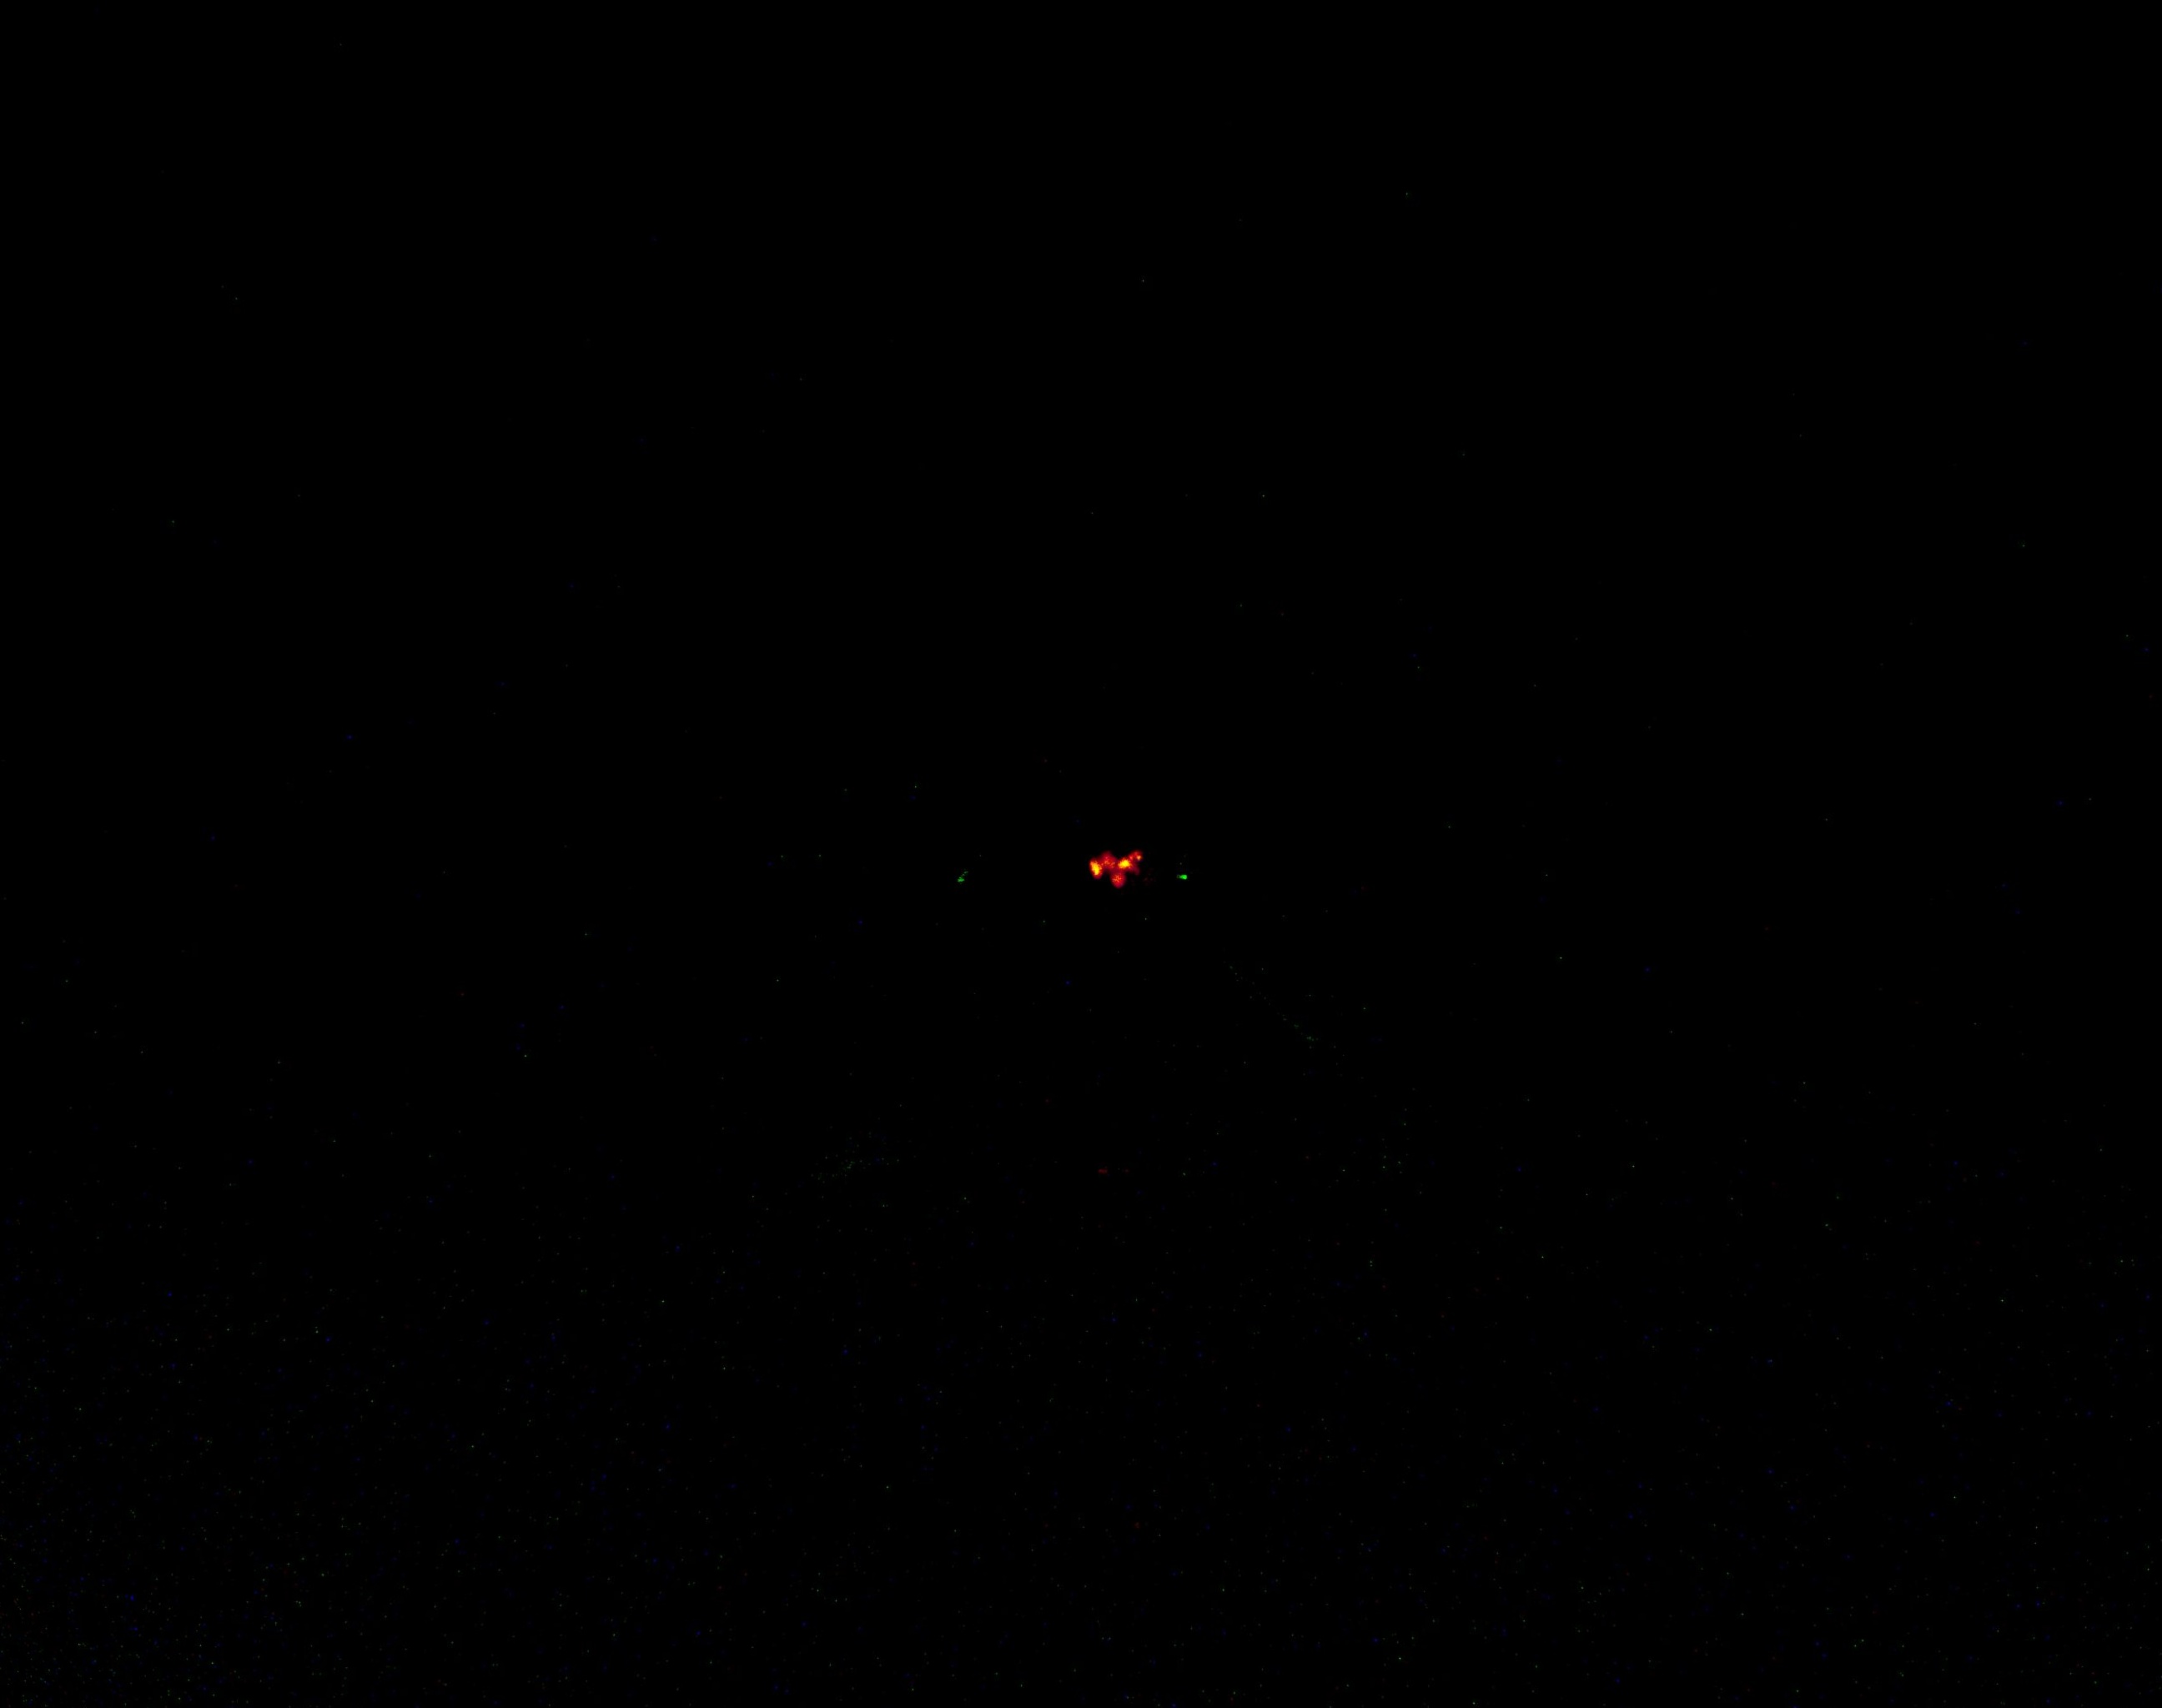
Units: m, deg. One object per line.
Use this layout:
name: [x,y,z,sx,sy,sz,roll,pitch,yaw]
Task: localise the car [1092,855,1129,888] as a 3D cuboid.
car: [1.662,0.932,44.938,1.834,1.740,4.005,-1,0,4]
